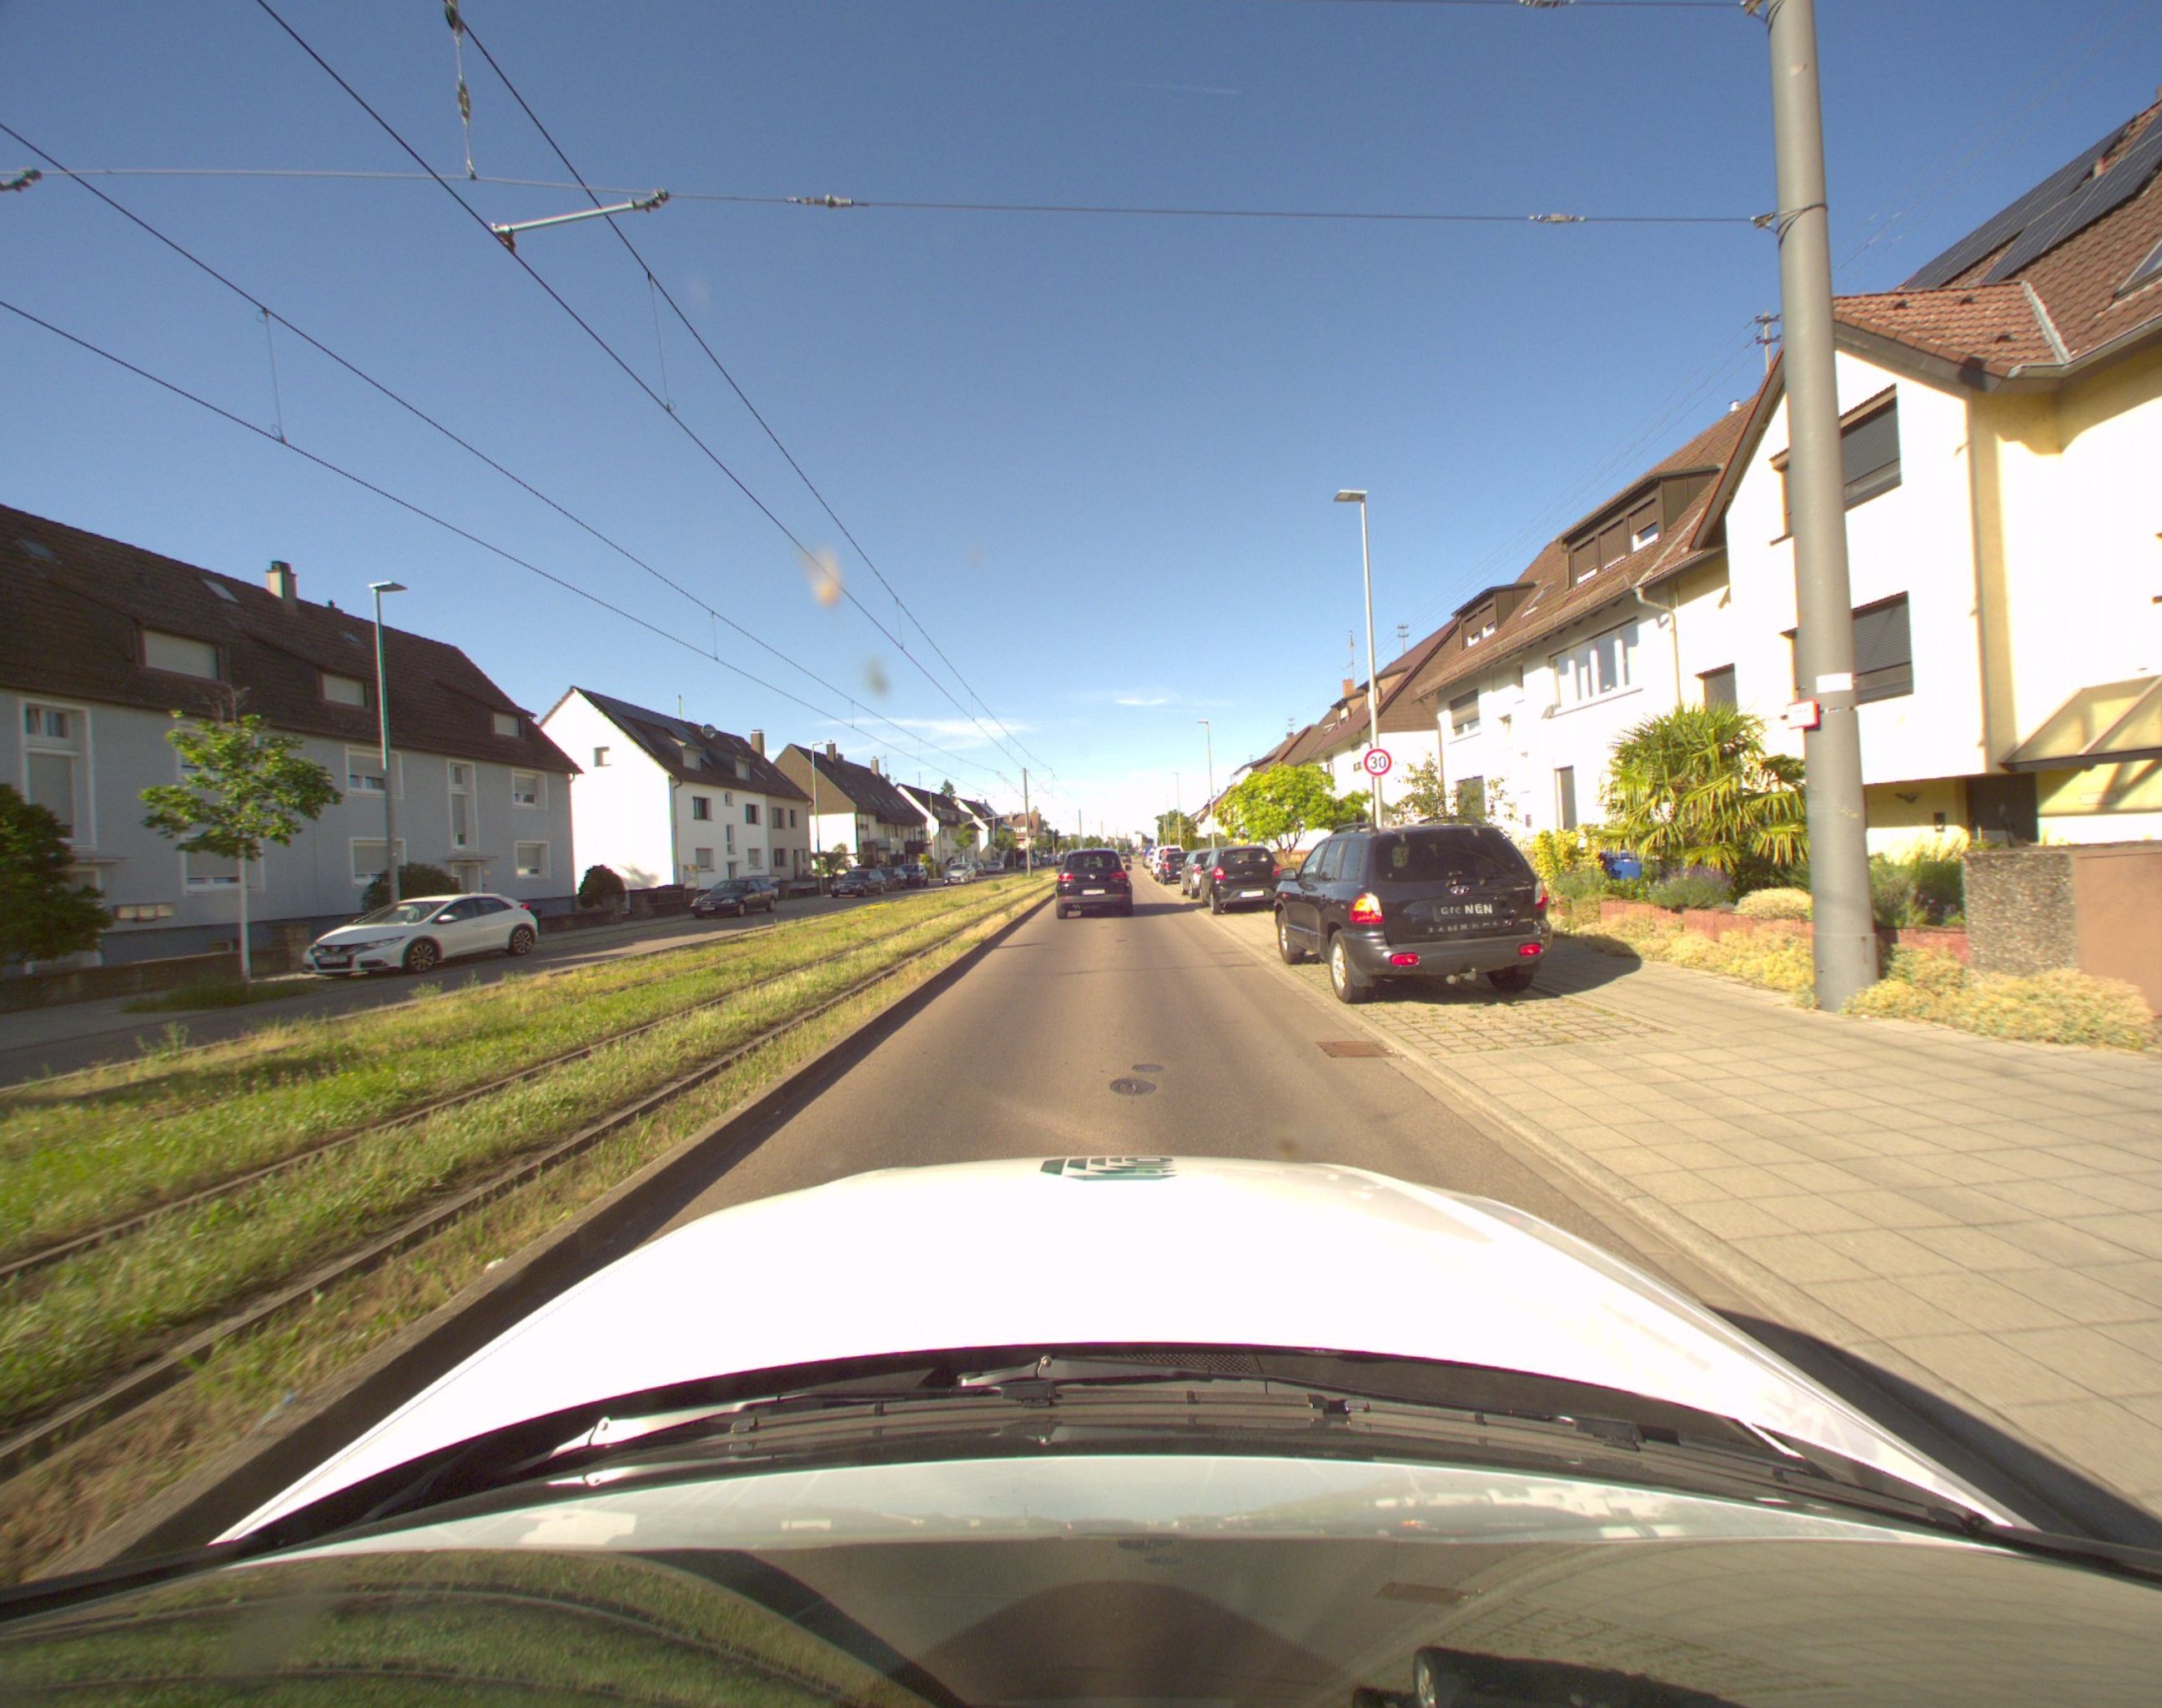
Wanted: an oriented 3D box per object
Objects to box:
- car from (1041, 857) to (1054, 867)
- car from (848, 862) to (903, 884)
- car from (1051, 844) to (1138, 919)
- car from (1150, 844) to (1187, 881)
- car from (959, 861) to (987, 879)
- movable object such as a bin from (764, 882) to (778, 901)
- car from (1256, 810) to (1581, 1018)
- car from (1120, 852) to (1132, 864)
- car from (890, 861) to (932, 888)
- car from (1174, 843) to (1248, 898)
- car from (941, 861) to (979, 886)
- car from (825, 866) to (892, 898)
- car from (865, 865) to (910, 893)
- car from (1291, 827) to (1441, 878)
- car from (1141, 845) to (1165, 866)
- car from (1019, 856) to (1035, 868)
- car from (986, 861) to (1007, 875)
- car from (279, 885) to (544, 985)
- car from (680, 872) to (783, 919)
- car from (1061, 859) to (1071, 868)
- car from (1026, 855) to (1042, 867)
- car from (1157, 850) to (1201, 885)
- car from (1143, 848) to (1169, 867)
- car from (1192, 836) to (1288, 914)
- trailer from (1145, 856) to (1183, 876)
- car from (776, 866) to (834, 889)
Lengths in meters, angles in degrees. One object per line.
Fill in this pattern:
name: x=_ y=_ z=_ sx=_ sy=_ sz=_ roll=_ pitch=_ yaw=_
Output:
car: x=-5.504 y=1.379 z=135.287 sx=1.653 sy=1.581 sz=4.003 roll=-4 pitch=-2 yaw=3
car: x=-17.513 y=1.615 z=69.645 sx=4.154 sy=1.616 sz=1.758 roll=-3 pitch=0 yaw=-2
car: x=0.241 y=0.661 z=20.847 sx=1.809 sy=1.671 sz=4.251 roll=-1 pitch=-1 yaw=-4
car: x=4.649 y=0.436 z=43.747 sx=1.682 sy=1.776 sz=4.660 roll=-4 pitch=0 yaw=3
car: x=-10.180 y=1.501 z=77.097 sx=1.610 sy=1.453 sz=3.726 roll=-4 pitch=0 yaw=8
movable object such as a bin: x=-15.504 y=1.872 z=40.727 sx=0.387 sy=0.927 sz=0.704 roll=-3 pitch=-2 yaw=1
car: x=3.354 y=0.509 z=9.169 sx=1.847 sy=1.659 sz=4.475 roll=-3 pitch=0 yaw=2
car: x=6.092 y=0.527 z=110.736 sx=1.566 sy=1.391 sz=3.617 roll=-3 pitch=0 yaw=3
car: x=-11.556 y=1.385 z=55.718 sx=1.797 sy=1.597 sz=4.811 roll=-3 pitch=0 yaw=0
car: x=4.006 y=0.495 z=25.637 sx=1.610 sy=1.475 sz=4.450 roll=-3 pitch=0 yaw=1
car: x=-8.141 y=1.332 z=55.146 sx=1.701 sy=1.490 sz=4.027 roll=-4 pitch=-2 yaw=3
car: x=-12.172 y=1.518 z=44.859 sx=1.868 sy=1.523 sz=4.887 roll=-3 pitch=0 yaw=5
car: x=-11.869 y=1.493 z=50.201 sx=1.514 sy=1.475 sz=4.204 roll=-3 pitch=0 yaw=3
car: x=9.447 y=0.009 z=27.468 sx=2.002 sy=1.445 sz=4.844 roll=-4 pitch=0 yaw=-23
car: x=6.755 y=0.125 z=77.010 sx=1.985 sy=1.862 sz=4.921 roll=-4 pitch=0 yaw=3
car: x=-7.430 y=1.122 z=112.796 sx=1.652 sy=1.496 sz=3.583 roll=-4 pitch=0 yaw=3
car: x=-9.338 y=1.603 z=89.858 sx=1.612 sy=1.409 sz=3.720 roll=-4 pitch=-2 yaw=3
car: x=-13.335 y=1.528 z=16.627 sx=1.685 sy=1.518 sz=4.218 roll=-4 pitch=0 yaw=3
car: x=-12.917 y=1.491 z=30.411 sx=1.783 sy=1.462 sz=4.170 roll=-3 pitch=0 yaw=3
car: x=-2.910 y=1.919 z=157.991 sx=1.459 sy=1.677 sz=3.290 roll=-4 pitch=-1 yaw=3
car: x=-6.850 y=0.997 z=119.110 sx=1.795 sy=1.631 sz=4.004 roll=-3 pitch=0 yaw=3
car: x=4.457 y=0.603 z=37.623 sx=1.664 sy=1.453 sz=4.128 roll=-4 pitch=0 yaw=3
car: x=6.473 y=0.327 z=70.638 sx=1.780 sy=1.441 sz=4.460 roll=-5 pitch=0 yaw=1
car: x=3.727 y=0.451 z=19.683 sx=1.659 sy=1.547 sz=3.839 roll=-5 pitch=0 yaw=3
trailer: x=5.434 y=0.784 z=53.873 sx=2.196 sy=1.093 sz=4.374 roll=-5 pitch=0 yaw=2
car: x=-23.331 y=1.950 z=69.011 sx=4.138 sy=1.654 sz=1.860 roll=-3 pitch=0 yaw=5
